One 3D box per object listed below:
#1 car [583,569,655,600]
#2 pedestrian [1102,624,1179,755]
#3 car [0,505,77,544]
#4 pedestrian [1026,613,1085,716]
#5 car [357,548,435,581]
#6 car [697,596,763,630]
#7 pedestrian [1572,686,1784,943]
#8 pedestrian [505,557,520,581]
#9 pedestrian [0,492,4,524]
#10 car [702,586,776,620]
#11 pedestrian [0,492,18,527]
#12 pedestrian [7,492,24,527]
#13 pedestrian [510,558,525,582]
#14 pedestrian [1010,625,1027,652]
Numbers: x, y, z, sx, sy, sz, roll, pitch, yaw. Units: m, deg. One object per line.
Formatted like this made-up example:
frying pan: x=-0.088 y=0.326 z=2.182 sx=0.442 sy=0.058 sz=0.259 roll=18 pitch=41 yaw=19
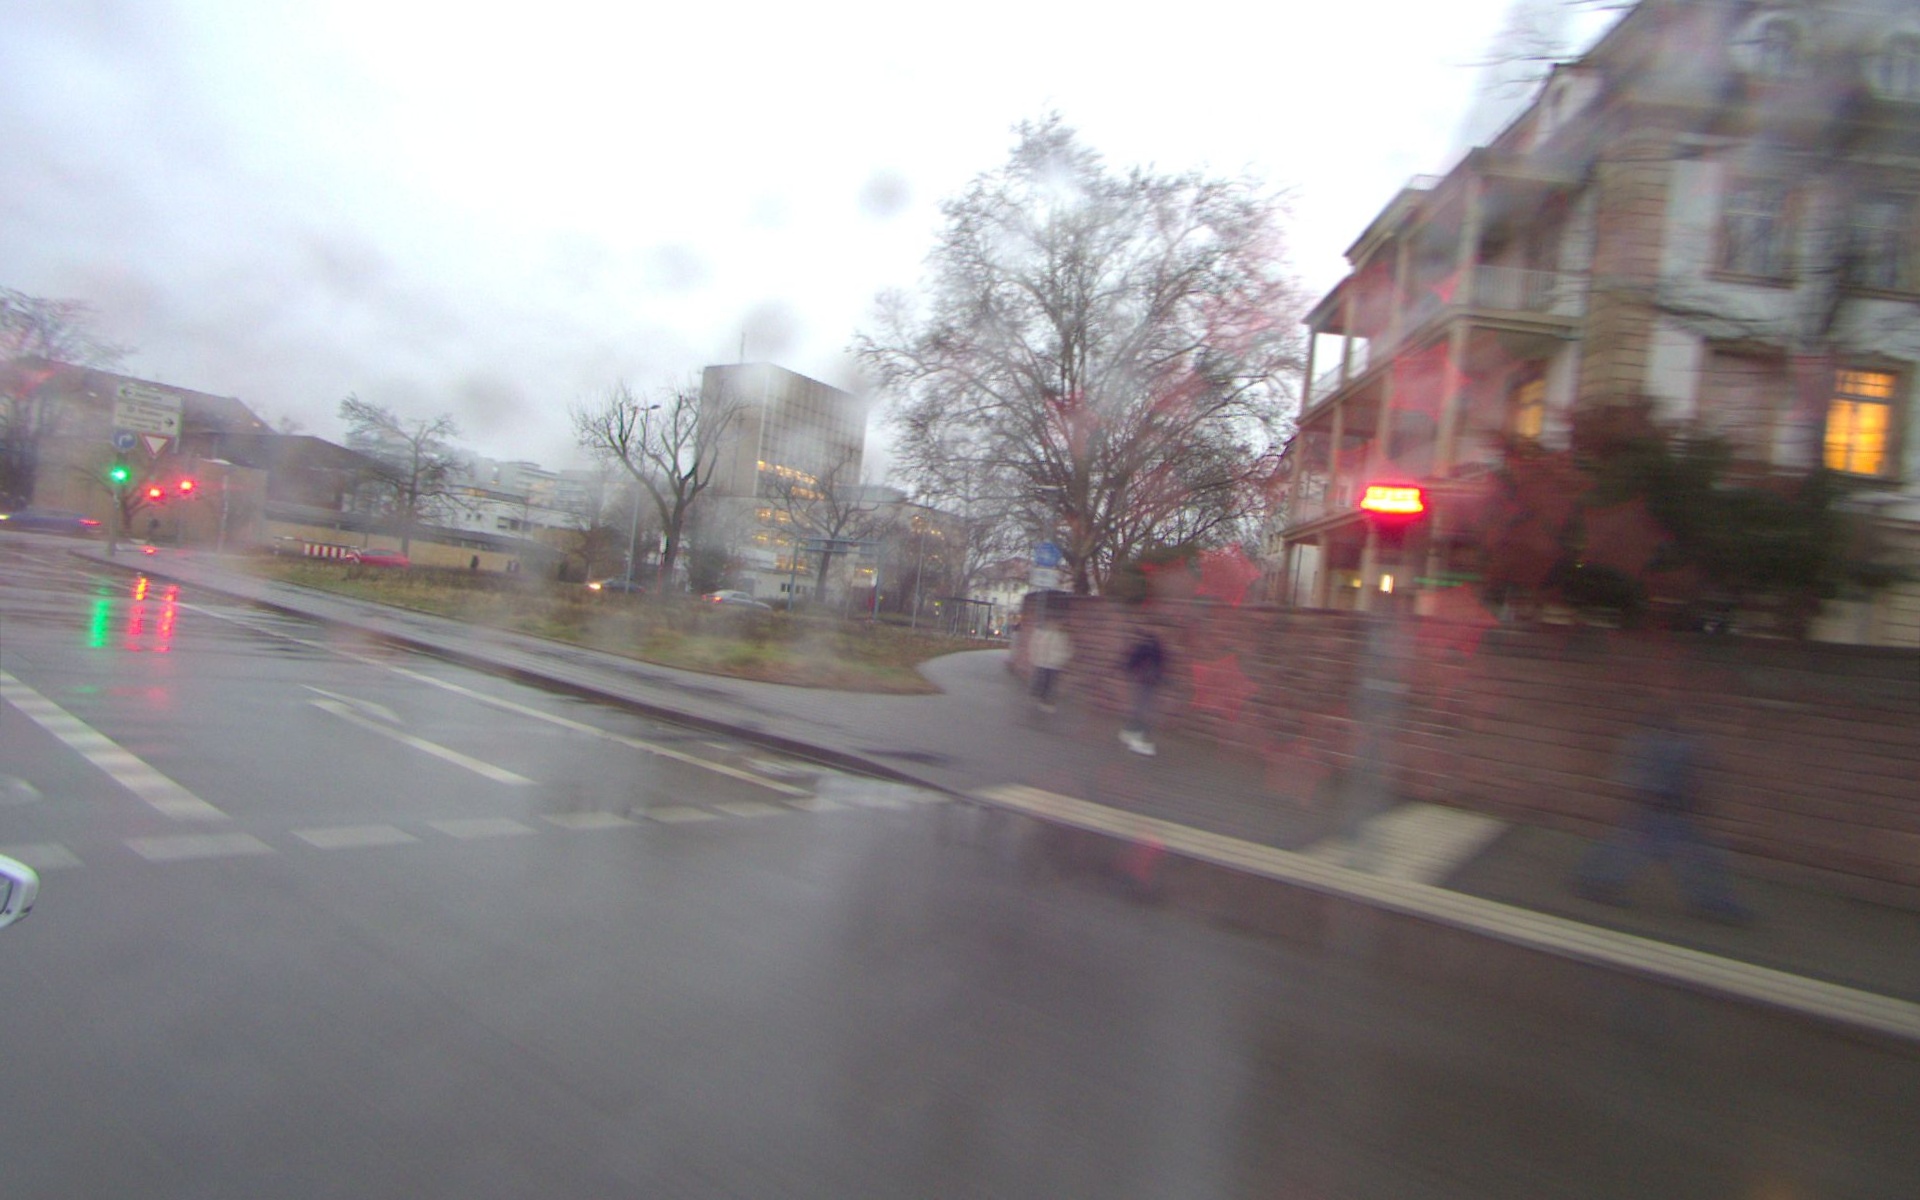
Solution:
car: x=-24.466 y=-1.087 z=72.303 sx=4.417 sy=1.597 sz=1.947 roll=10 pitch=-4 yaw=-40
pedestrian: x=2.528 y=1.228 z=14.074 sx=0.716 sy=1.696 sz=0.791 roll=7 pitch=1 yaw=24
car: x=-45.703 y=-3.734 z=49.335 sx=3.396 sy=1.414 sz=1.454 roll=9 pitch=-2 yaw=-38
pedestrian: x=1.681 y=1.121 z=17.870 sx=0.765 sy=1.696 sz=0.961 roll=6 pitch=1 yaw=-2
car: x=-34.417 y=-2.173 z=61.435 sx=1.545 sy=1.413 sz=3.783 roll=4 pitch=-4 yaw=45
car: x=-14.760 y=0.836 z=64.629 sx=1.864 sy=1.669 sz=3.632 roll=4 pitch=-4 yaw=41
pedestrian: x=5.663 y=1.615 z=7.951 sx=1.140 sy=1.706 sz=0.804 roll=8 pitch=2 yaw=40
pedestrian: x=-34.307 y=-2.361 z=77.094 sx=0.750 sy=1.744 sz=0.623 roll=4 pitch=-3 yaw=44
pedestrian: x=-53.310 y=-5.045 z=55.623 sx=0.435 sy=1.859 sz=0.455 roll=8 pitch=-2 yaw=-35
car: x=-9.024 y=0.126 z=41.120 sx=2.652 sy=0.989 sz=1.293 roll=8 pitch=0 yaw=-28
pedestrian: x=-52.410 y=-4.968 z=55.451 sx=0.456 sy=1.859 sz=0.435 roll=8 pitch=-2 yaw=-36
pedestrian: x=-52.656 y=-5.039 z=56.104 sx=0.435 sy=1.859 sz=0.456 roll=8 pitch=-2 yaw=-34
pedestrian: x=-33.661 y=-2.306 z=76.540 sx=0.750 sy=1.744 sz=0.623 roll=4 pitch=-3 yaw=44
pedestrian: x=4.317 y=2.831 z=74.274 sx=0.825 sy=1.856 sz=0.666 roll=5 pitch=-3 yaw=40
